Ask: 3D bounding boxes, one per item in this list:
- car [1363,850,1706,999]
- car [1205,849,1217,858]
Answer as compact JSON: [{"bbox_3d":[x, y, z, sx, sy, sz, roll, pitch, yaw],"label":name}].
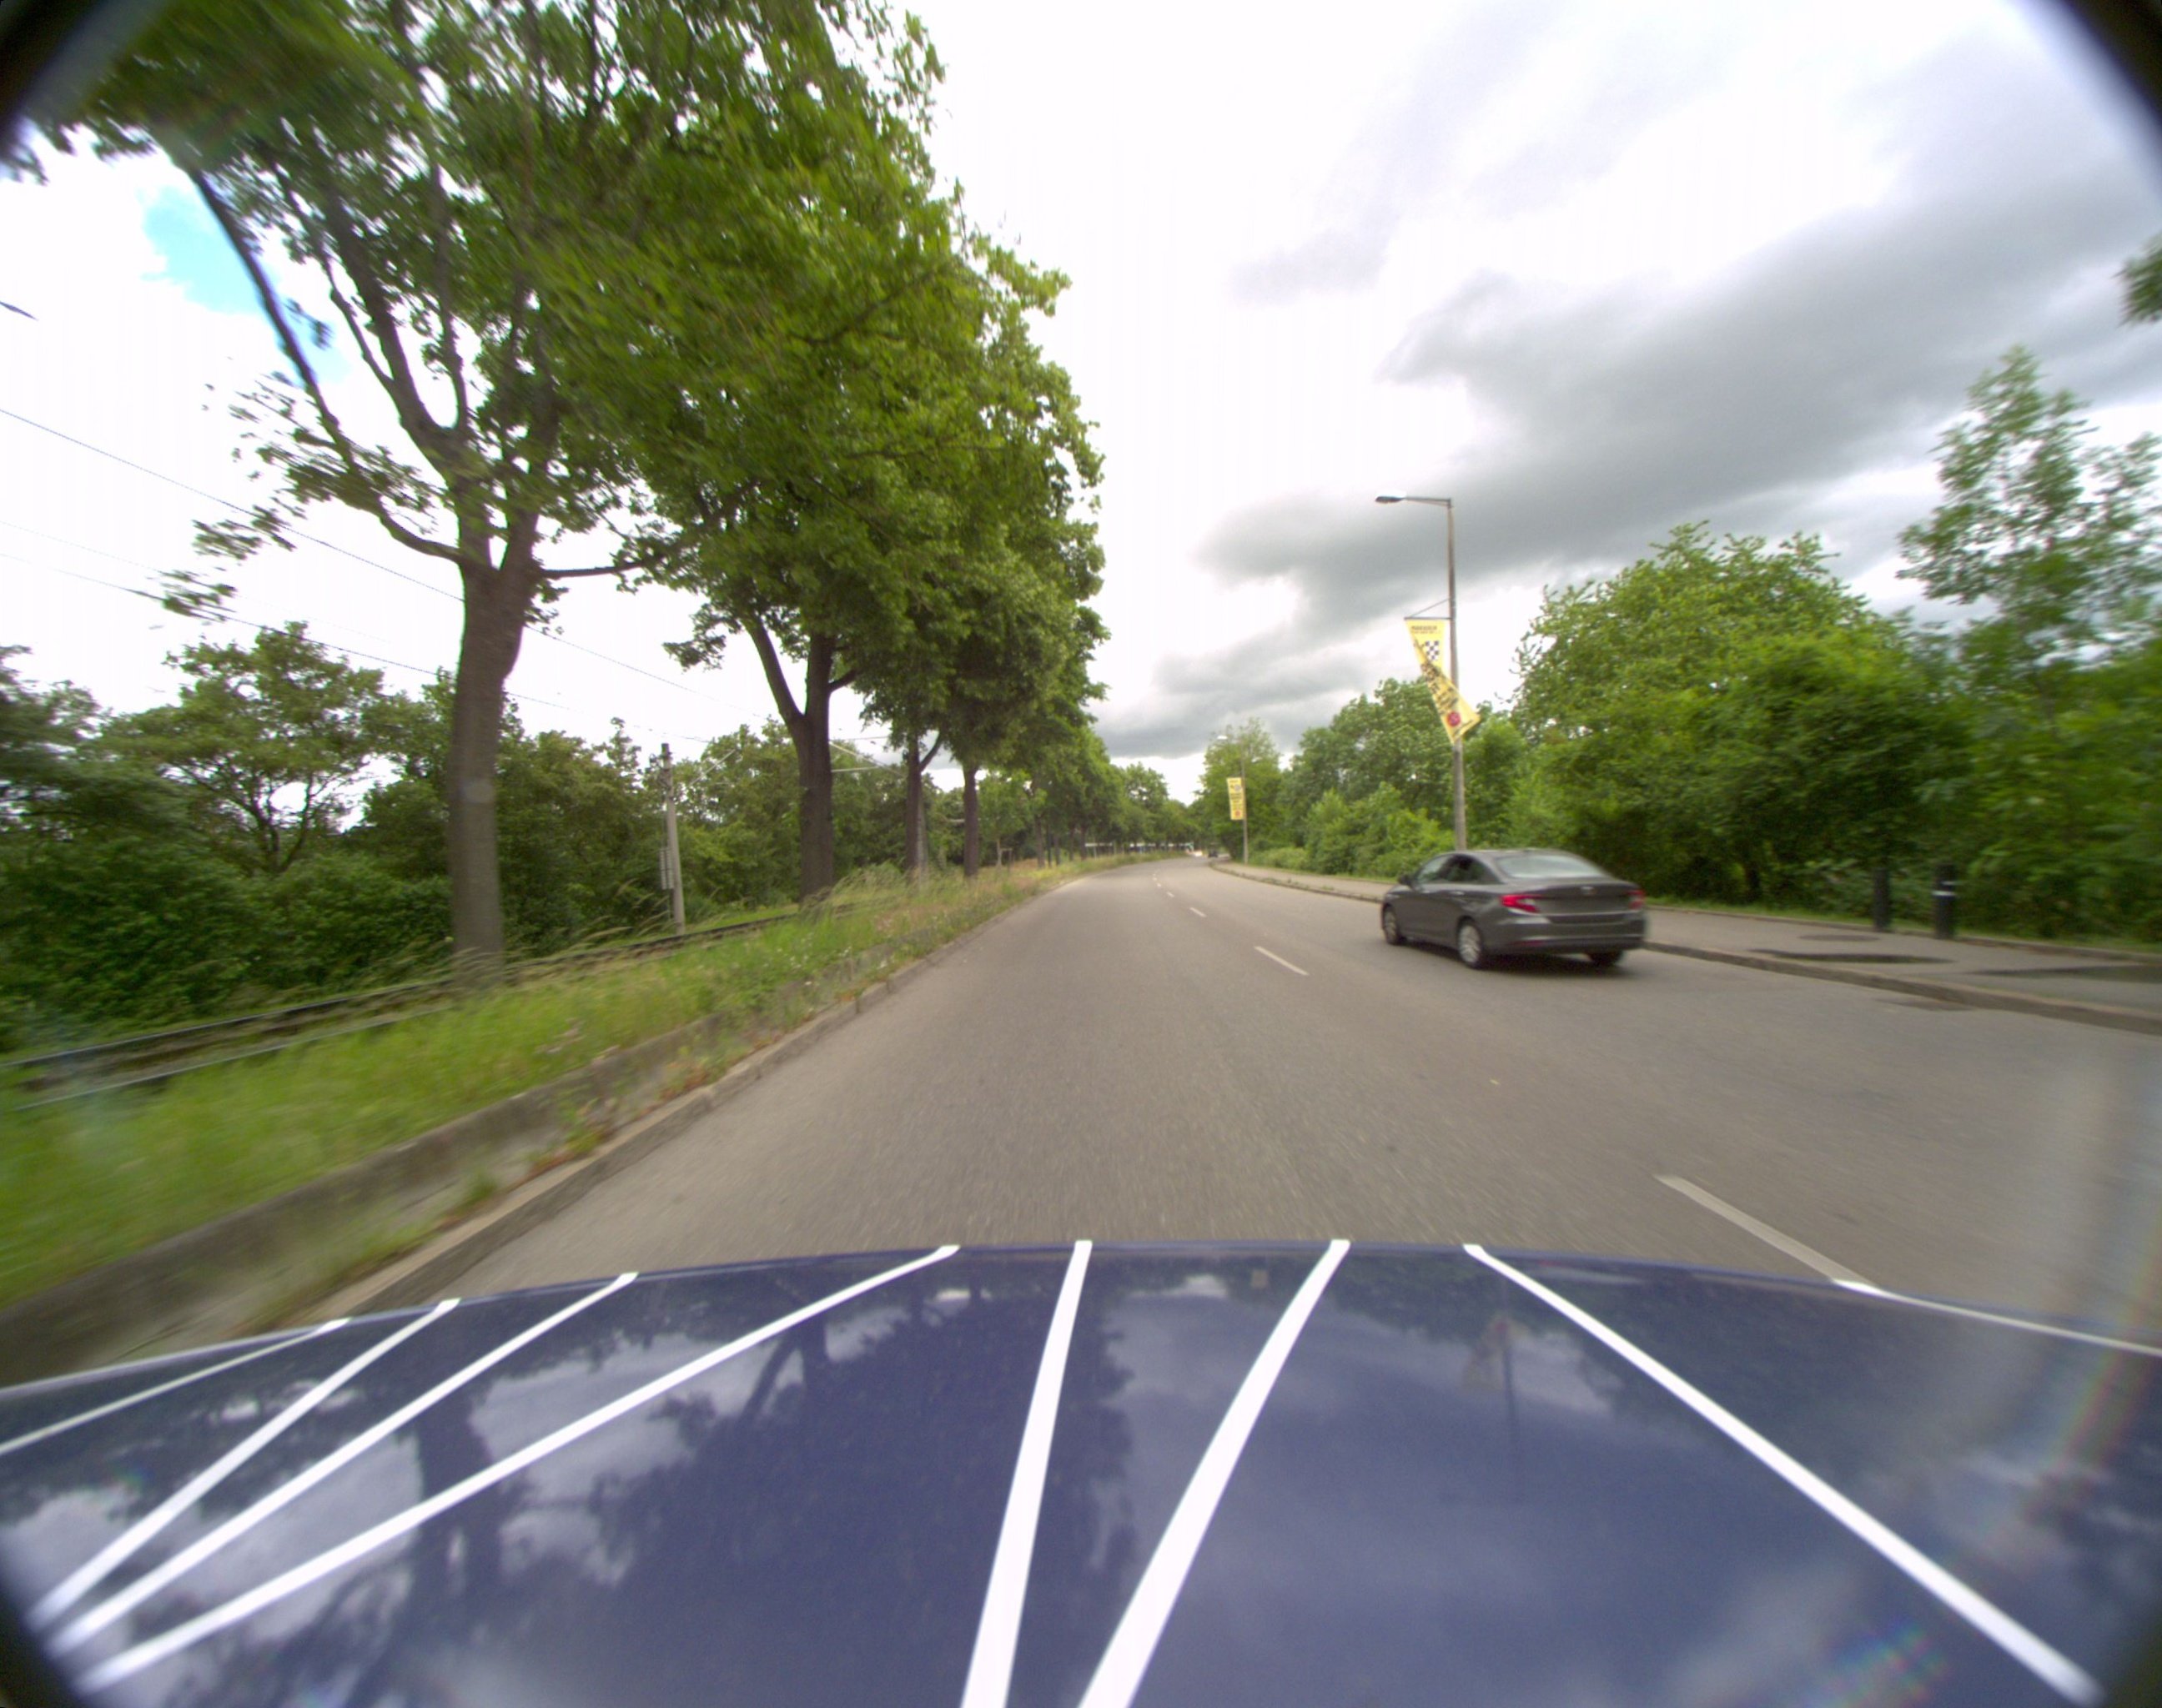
[{"bbox_3d":[5.643,0.739,10.249,1.999,1.496,4.278,-2,1,-1],"label":"car"},{"bbox_3d":[24.729,-0.138,144.537,1.797,1.401,4.003,-4,0,13],"label":"car"}]
